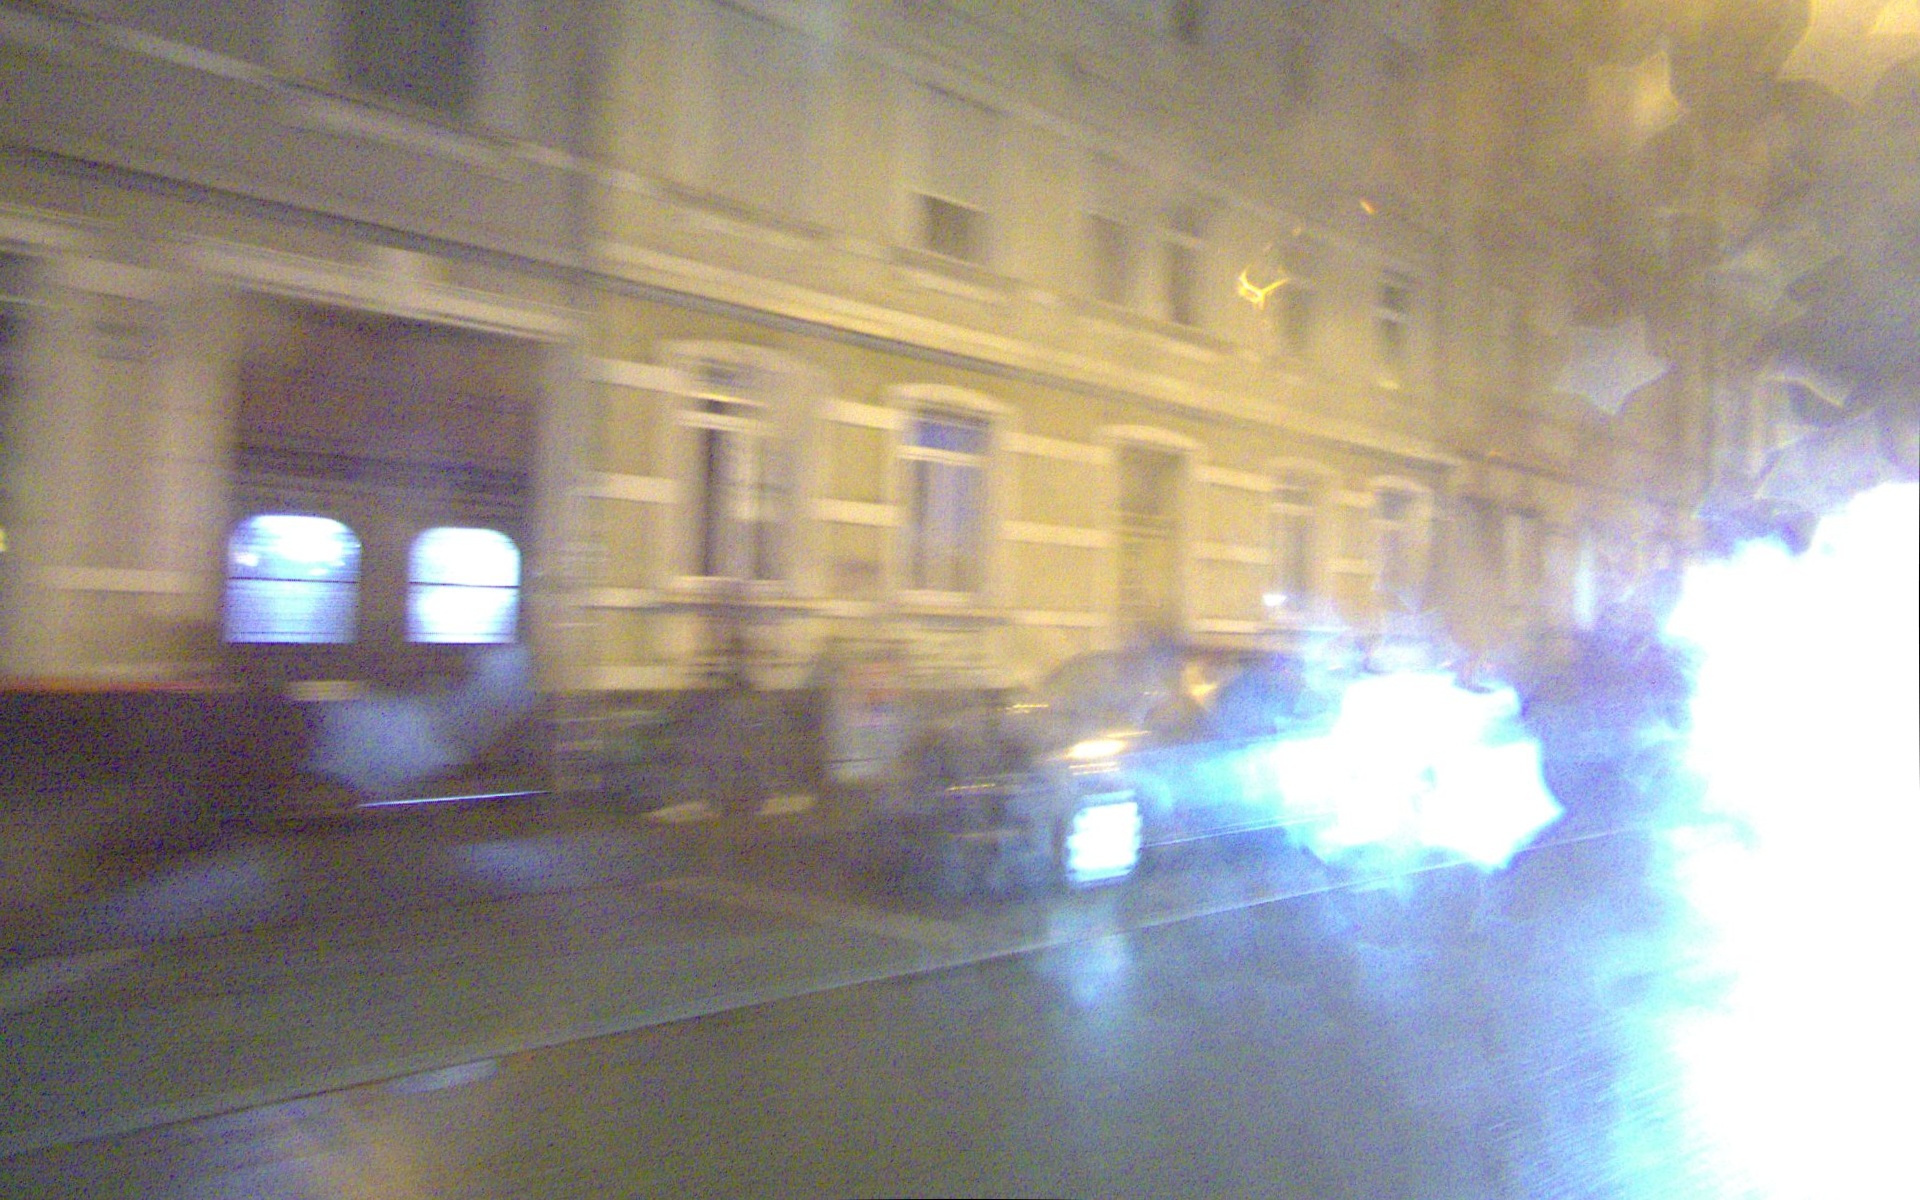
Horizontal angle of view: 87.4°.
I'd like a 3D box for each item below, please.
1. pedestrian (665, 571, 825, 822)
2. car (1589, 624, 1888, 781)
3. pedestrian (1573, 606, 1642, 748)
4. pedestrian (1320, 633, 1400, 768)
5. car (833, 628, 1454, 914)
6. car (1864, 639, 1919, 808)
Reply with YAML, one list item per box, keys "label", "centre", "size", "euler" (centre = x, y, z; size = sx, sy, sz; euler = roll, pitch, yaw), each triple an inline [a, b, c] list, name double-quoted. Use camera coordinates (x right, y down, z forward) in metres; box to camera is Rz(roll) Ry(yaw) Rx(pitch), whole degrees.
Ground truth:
- label: "pedestrian"
  centre: [-1.691, 0.721, 7.878]
  size: [0.975, 1.828, 0.739]
  euler: [3, -1, -31]
- label: "car"
  centre: [10.271, 1.243, 13.154]
  size: [4.548, 1.739, 1.821]
  euler: [3, -3, -34]
- label: "pedestrian"
  centre: [9.512, 1.114, 14.753]
  size: [0.765, 2.000, 0.649]
  euler: [3, -1, -45]
- label: "pedestrian"
  centre: [4.976, 1.225, 12.490]
  size: [0.648, 1.573, 0.759]
  euler: [2, -1, 41]
- label: "car"
  centre: [1.521, 1.017, 7.382]
  size: [4.548, 1.506, 1.821]
  euler: [3, -3, -34]
- label: "car"
  centre: [11.509, 1.247, 10.647]
  size: [4.530, 1.639, 1.908]
  euler: [2, -4, -36]
